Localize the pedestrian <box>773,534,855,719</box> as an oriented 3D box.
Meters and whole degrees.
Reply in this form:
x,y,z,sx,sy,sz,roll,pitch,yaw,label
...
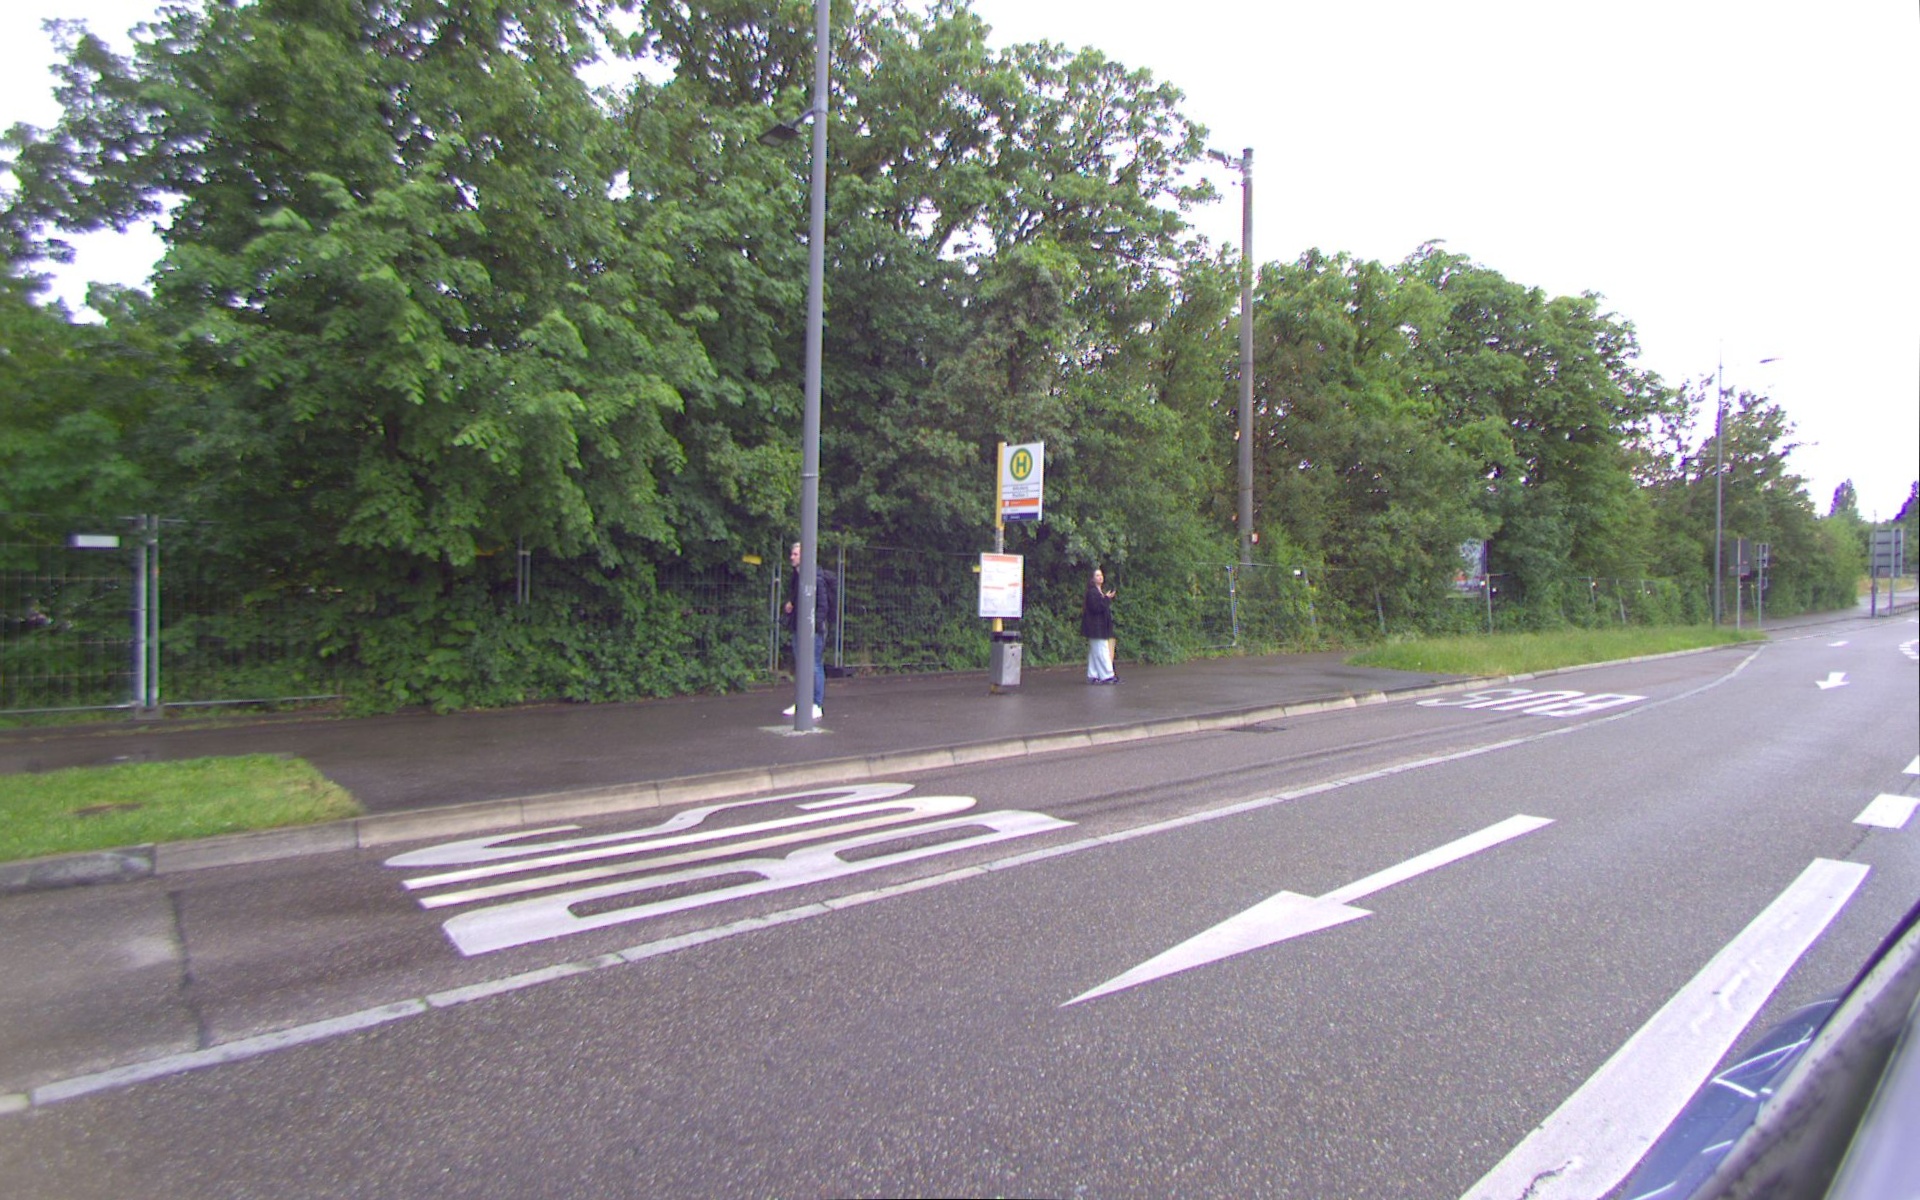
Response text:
x,y,z,sx,sy,sz,roll,pitch,yaw,label
-1.636,0.275,11.297,0.587,1.973,0.742,0,1,-40,pedestrian

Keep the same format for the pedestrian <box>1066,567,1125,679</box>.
x,y,z,sx,sy,sz,roll,pitch,yaw,label
2.045,0.330,15.250,0.650,1.648,0.588,0,1,-40,pedestrian
